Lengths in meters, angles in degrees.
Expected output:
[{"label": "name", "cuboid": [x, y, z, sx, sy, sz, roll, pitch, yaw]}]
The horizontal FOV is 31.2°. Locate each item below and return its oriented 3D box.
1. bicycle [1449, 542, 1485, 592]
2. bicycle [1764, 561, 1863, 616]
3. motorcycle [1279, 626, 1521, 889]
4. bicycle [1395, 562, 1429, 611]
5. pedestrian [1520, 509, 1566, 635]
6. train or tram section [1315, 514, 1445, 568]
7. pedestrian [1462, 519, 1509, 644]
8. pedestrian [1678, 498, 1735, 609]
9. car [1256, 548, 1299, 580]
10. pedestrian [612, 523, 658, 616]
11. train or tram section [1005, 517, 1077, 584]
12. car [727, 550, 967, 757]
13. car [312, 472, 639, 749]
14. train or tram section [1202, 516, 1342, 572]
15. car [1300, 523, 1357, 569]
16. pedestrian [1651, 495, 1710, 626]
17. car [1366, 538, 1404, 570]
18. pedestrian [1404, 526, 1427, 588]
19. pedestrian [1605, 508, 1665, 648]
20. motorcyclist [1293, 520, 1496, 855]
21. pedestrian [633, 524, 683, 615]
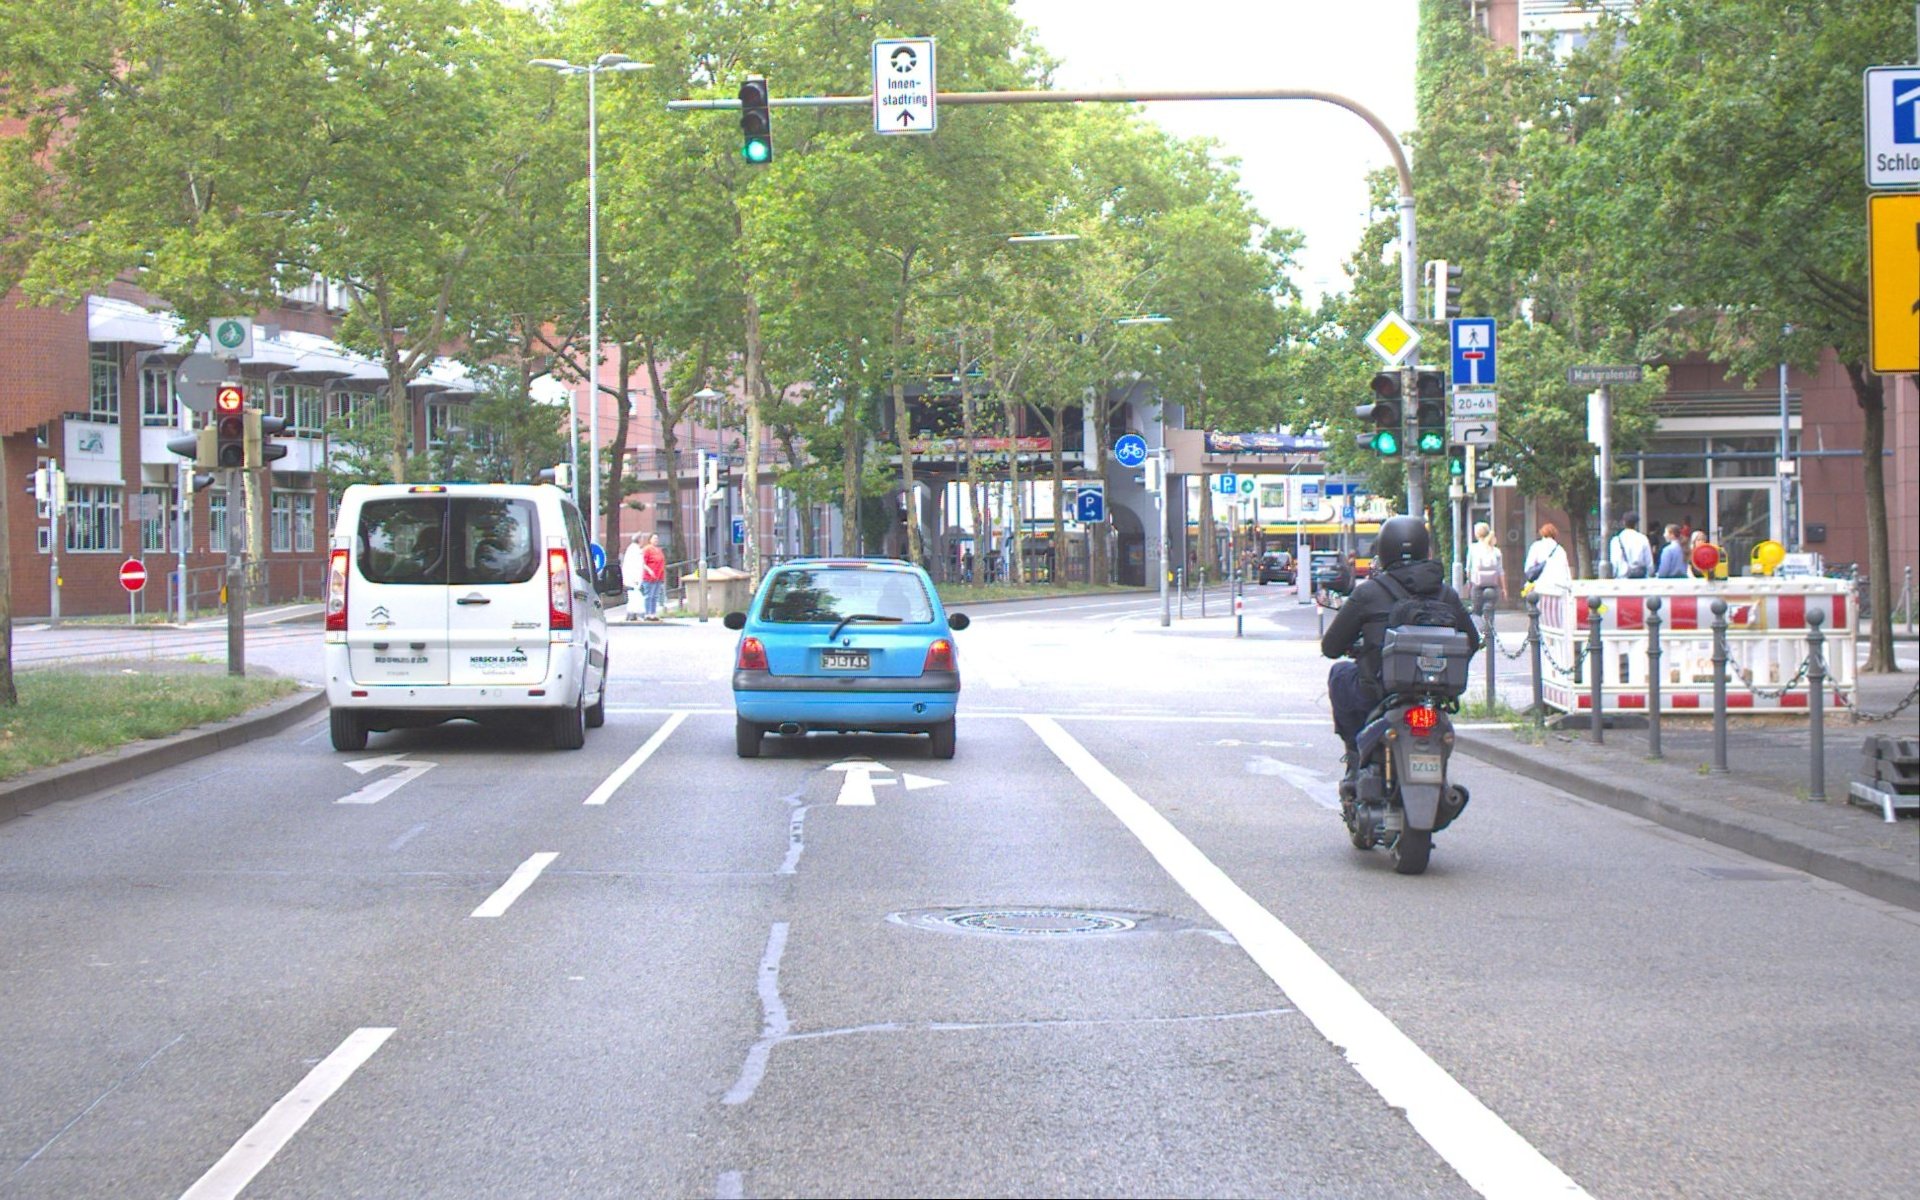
[{"label": "bicycle", "cuboid": [10.549, -0.692, 71.600, 0.617, 1.005, 1.735, 0, 1, 4]}, {"label": "bicycle", "cuboid": [15.960, -0.211, 64.302, 1.730, 1.005, 0.478, 0, 1, 6]}, {"label": "motorcycle", "cuboid": [2.044, 0.705, 16.286, 0.767, 1.103, 2.208, -1, 1, -2]}, {"label": "bicycle", "cuboid": [9.494, -0.281, 72.245, 0.617, 1.005, 1.735, 0, 1, 4]}, {"label": "pedestrian", "cuboid": [7.578, -0.368, 44.683, 0.517, 1.610, 0.850, 0, 1, 5]}, {"label": "train or tram section", "cuboid": [25.902, -3.645, 211.753, 8.333, 3.242, 2.397, -1, 1, -34]}, {"label": "pedestrian", "cuboid": [6.851, -0.241, 44.810, 0.517, 1.610, 0.851, -1, 1, 4]}, {"label": "pedestrian", "cuboid": [10.406, -0.647, 47.945, 0.676, 1.533, 0.947, -1, 1, 6]}, {"label": "car", "cuboid": [16.769, -1.920, 181.513, 1.887, 1.618, 3.998, 0, 1, 11]}, {"label": "pedestrian", "cuboid": [-6.073, -0.573, 64.333, 0.553, 1.712, 0.890, 0, 1, 16]}, {"label": "train or tram section", "cuboid": [4.085, -2.465, 171.496, 2.390, 3.242, 8.815, -1, 1, 9]}, {"label": "car", "cuboid": [-0.807, 0.337, 25.420, 1.640, 1.381, 3.843, 0, 1, -1]}, {"label": "car", "cuboid": [-3.624, 0.010, 26.564, 1.931, 1.919, 4.956, -1, 1, -2]}, {"label": "train or tram section", "cuboid": [18.824, -3.404, 207.043, 8.790, 3.242, 2.397, -1, 1, -33]}, {"label": "car", "cuboid": [13.176, -1.931, 122.834, 1.699, 1.596, 3.998, 0, 1, 11]}, {"label": "pedestrian", "cuboid": [9.499, -0.523, 45.332, 0.652, 1.695, 1.022, 0, 1, 7]}, {"label": "car", "cuboid": [22.155, -2.403, 179.207, 1.699, 1.596, 3.998, 0, 1, 11]}, {"label": "pedestrian", "cuboid": [13.593, -1.281, 102.664, 0.647, 1.852, 0.782, 0, 1, 9]}, {"label": "pedestrian", "cuboid": [8.885, -0.298, 45.277, 0.676, 1.822, 0.850, 0, 1, 5]}, {"label": "motorcyclist", "cuboid": [2.037, 0.394, 16.224, 0.759, 1.514, 1.018, -1, 1, -2]}, {"label": "pedestrian", "cuboid": [-5.733, -0.580, 65.249, 0.553, 1.712, 0.889, 0, 1, 25]}]
